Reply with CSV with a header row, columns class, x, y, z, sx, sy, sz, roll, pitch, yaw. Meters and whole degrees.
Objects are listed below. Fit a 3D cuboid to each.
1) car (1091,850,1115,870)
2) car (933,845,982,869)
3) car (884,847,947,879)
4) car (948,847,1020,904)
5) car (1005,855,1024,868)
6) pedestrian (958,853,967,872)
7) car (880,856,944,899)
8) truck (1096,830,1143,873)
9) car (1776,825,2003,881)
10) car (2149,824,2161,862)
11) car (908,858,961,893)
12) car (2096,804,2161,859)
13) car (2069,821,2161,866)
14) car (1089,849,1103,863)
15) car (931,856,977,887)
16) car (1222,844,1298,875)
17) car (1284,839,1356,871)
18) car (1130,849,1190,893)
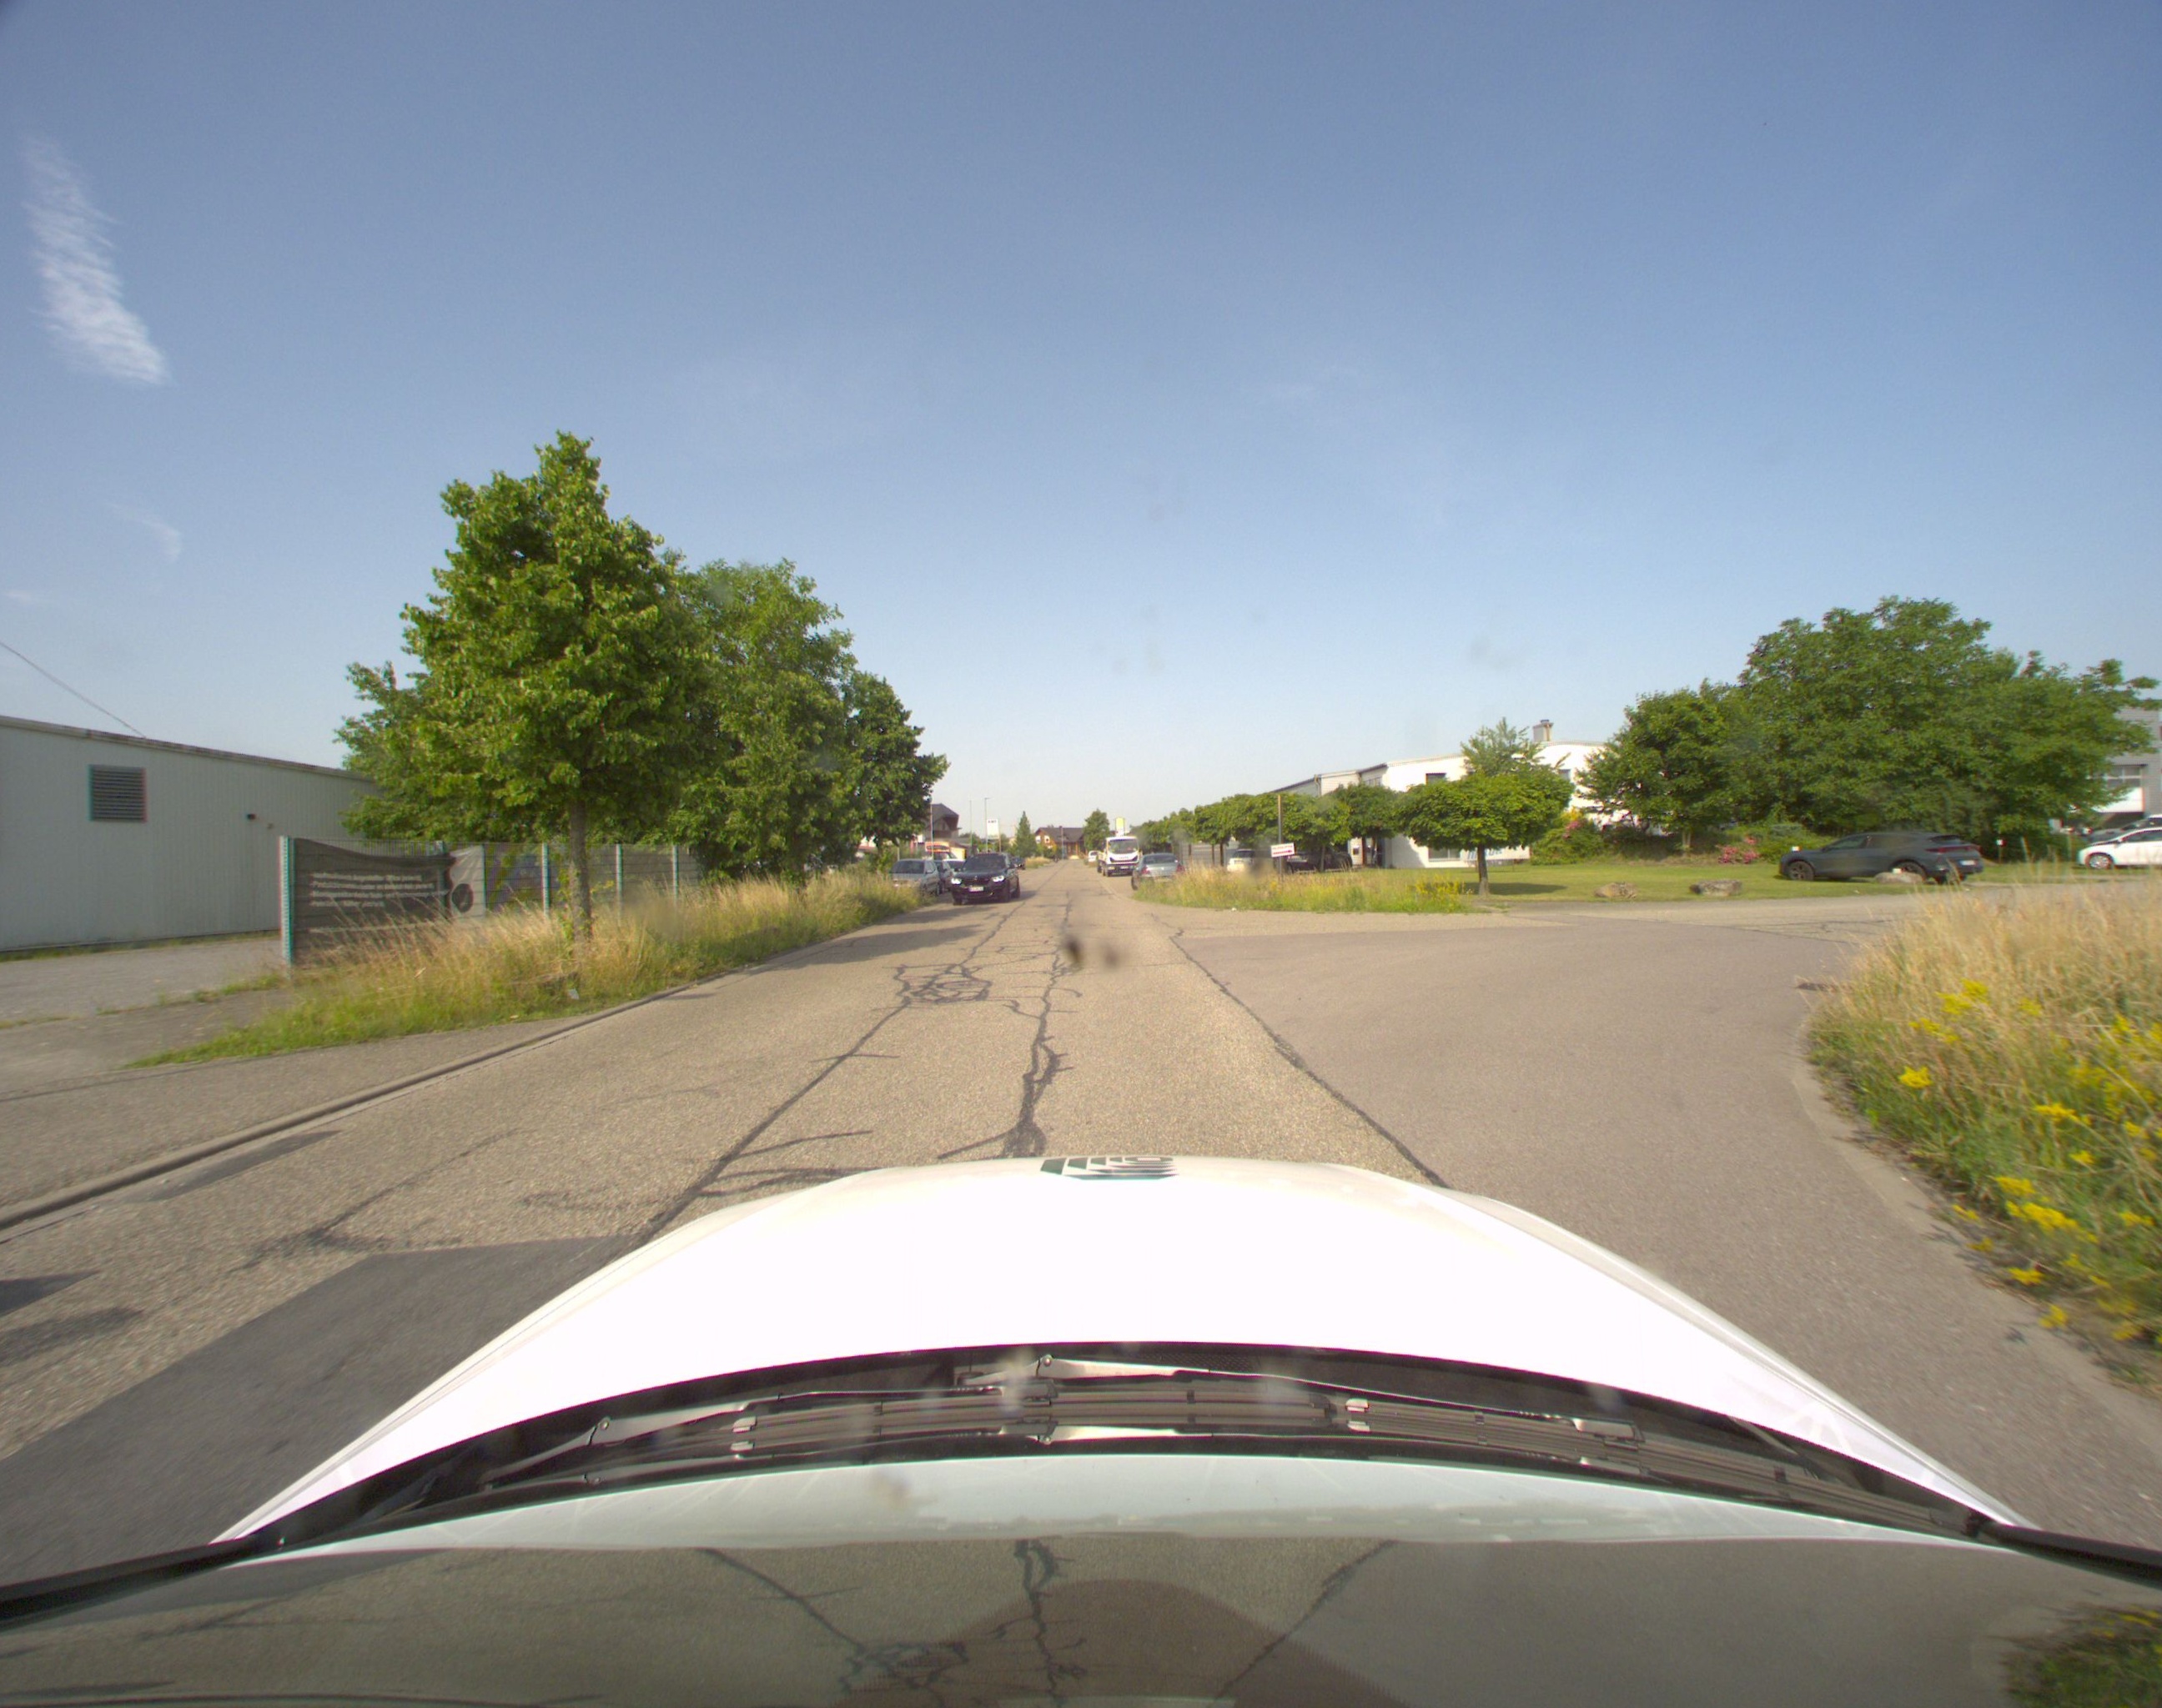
class,x,y,z,sx,sy,sz,roll,pitch,yaw
car,1.730,0.473,66.227,1.789,1.560,3.999,-2,0,-1
car,-14.860,0.378,98.277,5.114,2.586,2.590,-3,0,20
car,-13.555,0.717,66.949,4.609,2.416,2.001,-2,0,1
car,-3.277,0.693,28.287,1.850,1.715,4.226,-3,0,0
car,-7.338,0.782,90.192,1.795,1.386,3.636,0,0,-1
pedestrian,-10.758,0.749,74.118,0.566,1.715,0.528,-2,0,-38
car,-6.468,0.860,31.477,1.560,1.538,3.690,0,0,2
truck,2.497,-0.163,54.924,2.355,2.681,6.501,-2,0,-4
car,23.195,-0.006,23.618,1.786,1.409,4.320,-2,0,-18
car,41.408,-0.476,29.272,1.562,1.409,3.296,-2,-1,-19
car,-6.437,0.894,36.162,1.573,1.443,3.964,0,0,1
car,39.146,-0.831,28.823,1.685,1.956,3.684,-2,0,-19
car,35.871,-0.363,27.060,1.562,1.450,3.495,-2,-1,-19
car,2.176,0.241,116.995,1.832,1.924,3.755,-3,0,0
car,-6.397,0.841,41.339,1.678,1.469,4.252,0,0,0
car,8.806,0.256,39.914,3.717,1.380,1.667,-2,0,-40
car,12.718,0.043,43.218,1.666,1.589,4.560,-2,0,45
car,2.934,0.590,31.058,1.789,1.517,4.422,-2,0,-1
